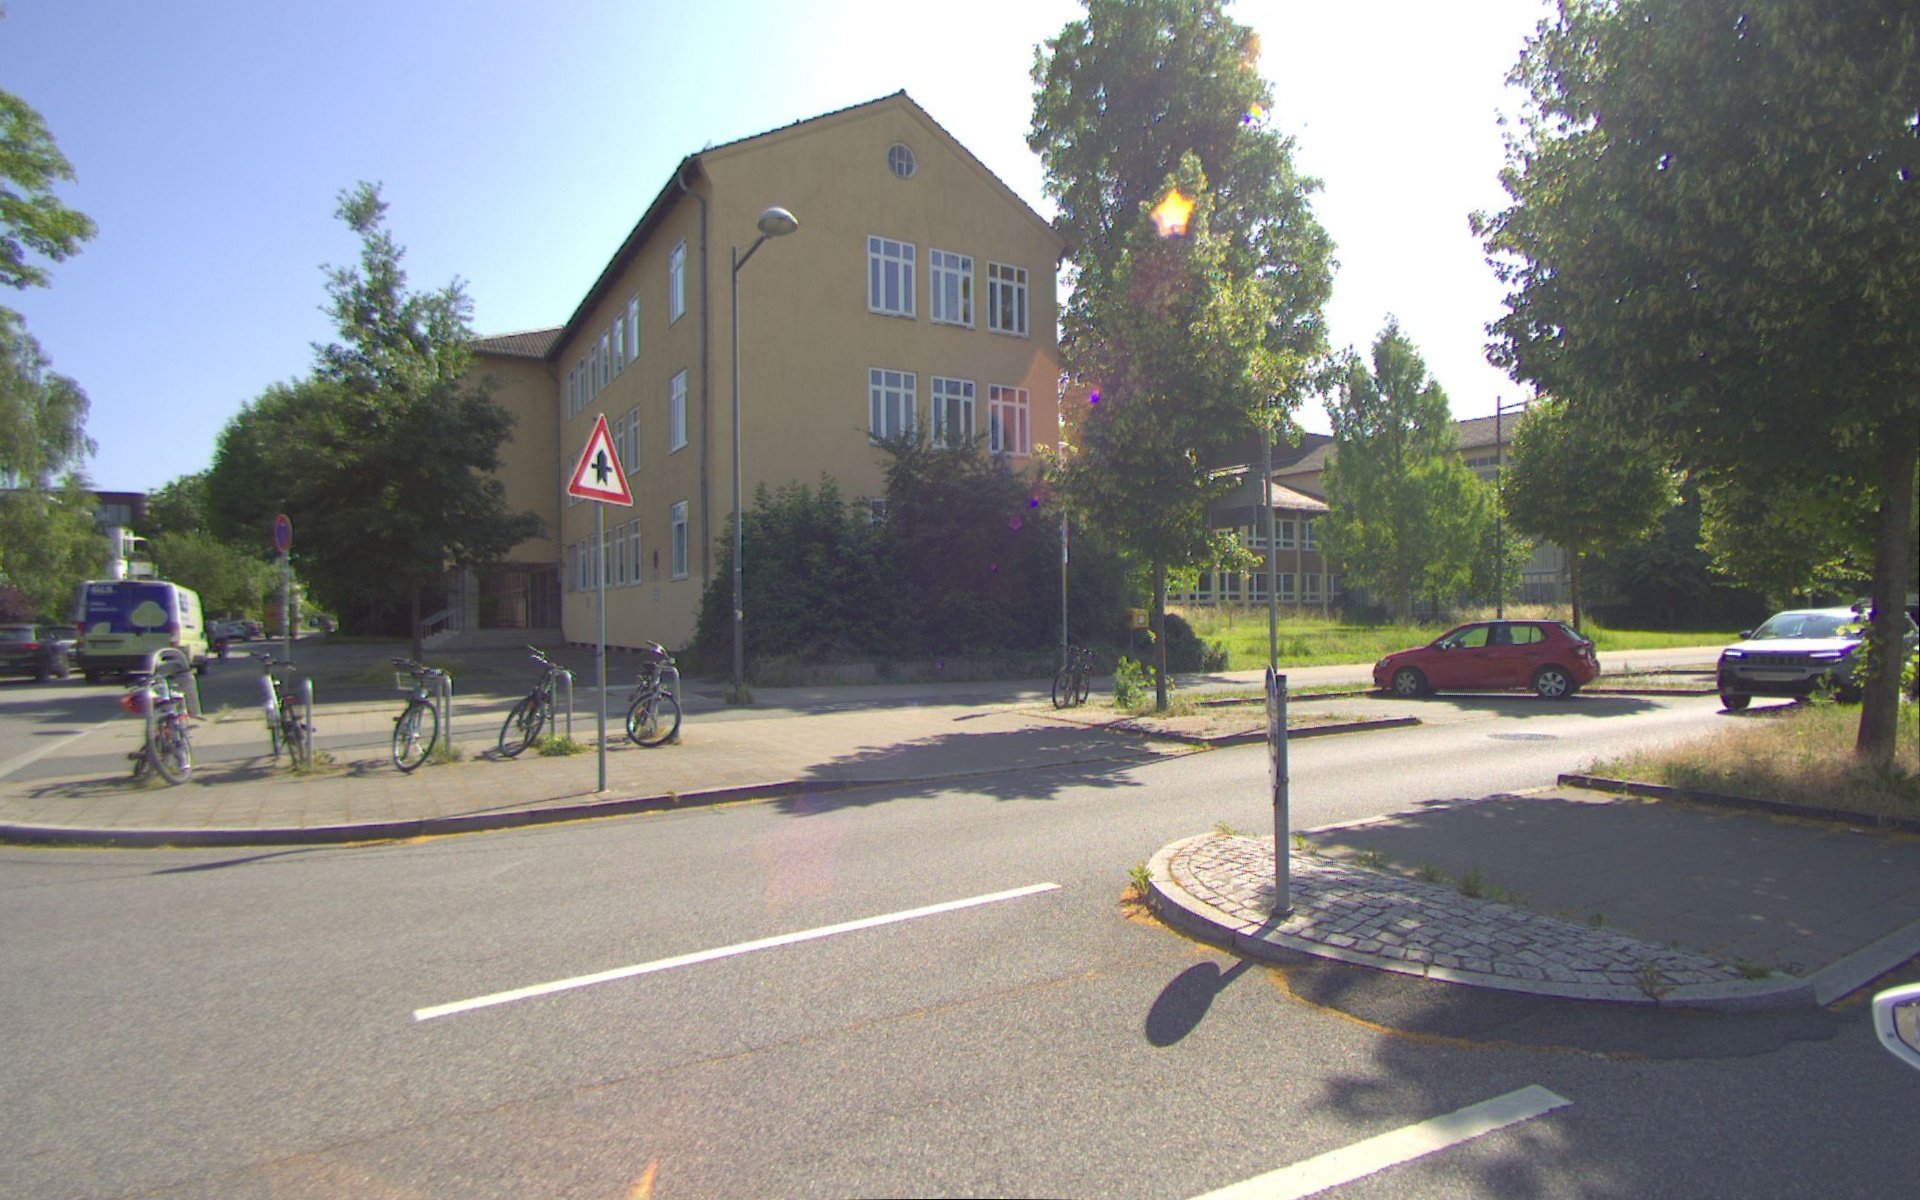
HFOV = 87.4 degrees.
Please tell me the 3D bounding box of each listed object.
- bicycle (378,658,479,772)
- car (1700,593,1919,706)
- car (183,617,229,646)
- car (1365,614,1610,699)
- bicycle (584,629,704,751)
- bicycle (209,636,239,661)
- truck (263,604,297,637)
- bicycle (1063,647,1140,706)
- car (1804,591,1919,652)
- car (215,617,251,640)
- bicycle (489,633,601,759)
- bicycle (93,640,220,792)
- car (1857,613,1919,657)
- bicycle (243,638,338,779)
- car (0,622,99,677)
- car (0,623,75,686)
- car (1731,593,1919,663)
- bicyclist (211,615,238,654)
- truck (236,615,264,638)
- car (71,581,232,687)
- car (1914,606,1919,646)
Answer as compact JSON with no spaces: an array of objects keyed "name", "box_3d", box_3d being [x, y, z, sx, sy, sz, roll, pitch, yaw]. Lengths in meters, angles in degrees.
[{"name":"bicycle","box_3d":[-5.743,1.164,10.770,0.732,1.000,2.530,0,-1,-33]},{"name":"car","box_3d":[13.559,0.743,15.745,4.026,1.567,1.733,1,-2,-31]},{"name":"car","box_3d":[-45.652,1.854,60.898,1.844,1.659,3.966,0,-1,-32]},{"name":"car","box_3d":[10.224,1.050,19.571,3.938,1.486,1.992,-2,-2,38]},{"name":"bicycle","box_3d":[-3.870,1.011,12.152,0.732,1.273,2.529,0,-1,-33]},{"name":"bicycle","box_3d":[-27.153,1.781,37.095,0.742,0.834,2.156,0,-1,-32]},{"name":"truck","box_3d":[-56.188,1.660,83.129,2.211,2.631,8.740,0,-1,-33]},{"name":"bicycle","box_3d":[2.344,1.248,16.613,1.259,0.915,0.517,1,-2,-37]},{"name":"car","box_3d":[28.522,0.651,30.803,3.705,1.795,1.817,0,-1,28]},{"name":"car","box_3d":[-53.493,2.074,73.967,1.844,1.659,3.966,0,-1,-32]},{"name":"bicycle","box_3d":[-4.797,1.021,11.489,0.732,1.273,2.500,0,-1,-33]},{"name":"bicycle","box_3d":[-7.832,1.045,9.894,0.732,1.273,2.530,0,-1,-33]},{"name":"car","box_3d":[32.721,1.185,33.552,3.769,1.442,1.715,0,-1,23]},{"name":"bicycle","box_3d":[-6.936,1.037,10.439,0.732,1.255,2.530,0,-1,-33]},{"name":"car","box_3d":[-28.456,1.500,31.509,1.730,1.572,3.760,0,-1,-34]},{"name":"car","box_3d":[-25.064,1.404,26.756,1.730,1.572,3.760,0,-1,-34]},{"name":"car","box_3d":[23.975,0.754,27.491,4.107,1.840,2.004,-1,-1,21]},{"name":"bicyclist","box_3d":[-27.135,1.258,37.075,0.707,1.410,1.285,1,-1,-32]},{"name":"truck","box_3d":[-60.219,2.202,85.219,1.779,1.849,3.962,0,0,-34]},{"name":"car","box_3d":[-21.924,0.920,27.569,2.254,2.557,6.093,0,-2,-27]},{"name":"car","box_3d":[35.974,0.892,34.837,3.700,1.442,1.856,-1,-1,18]}]
